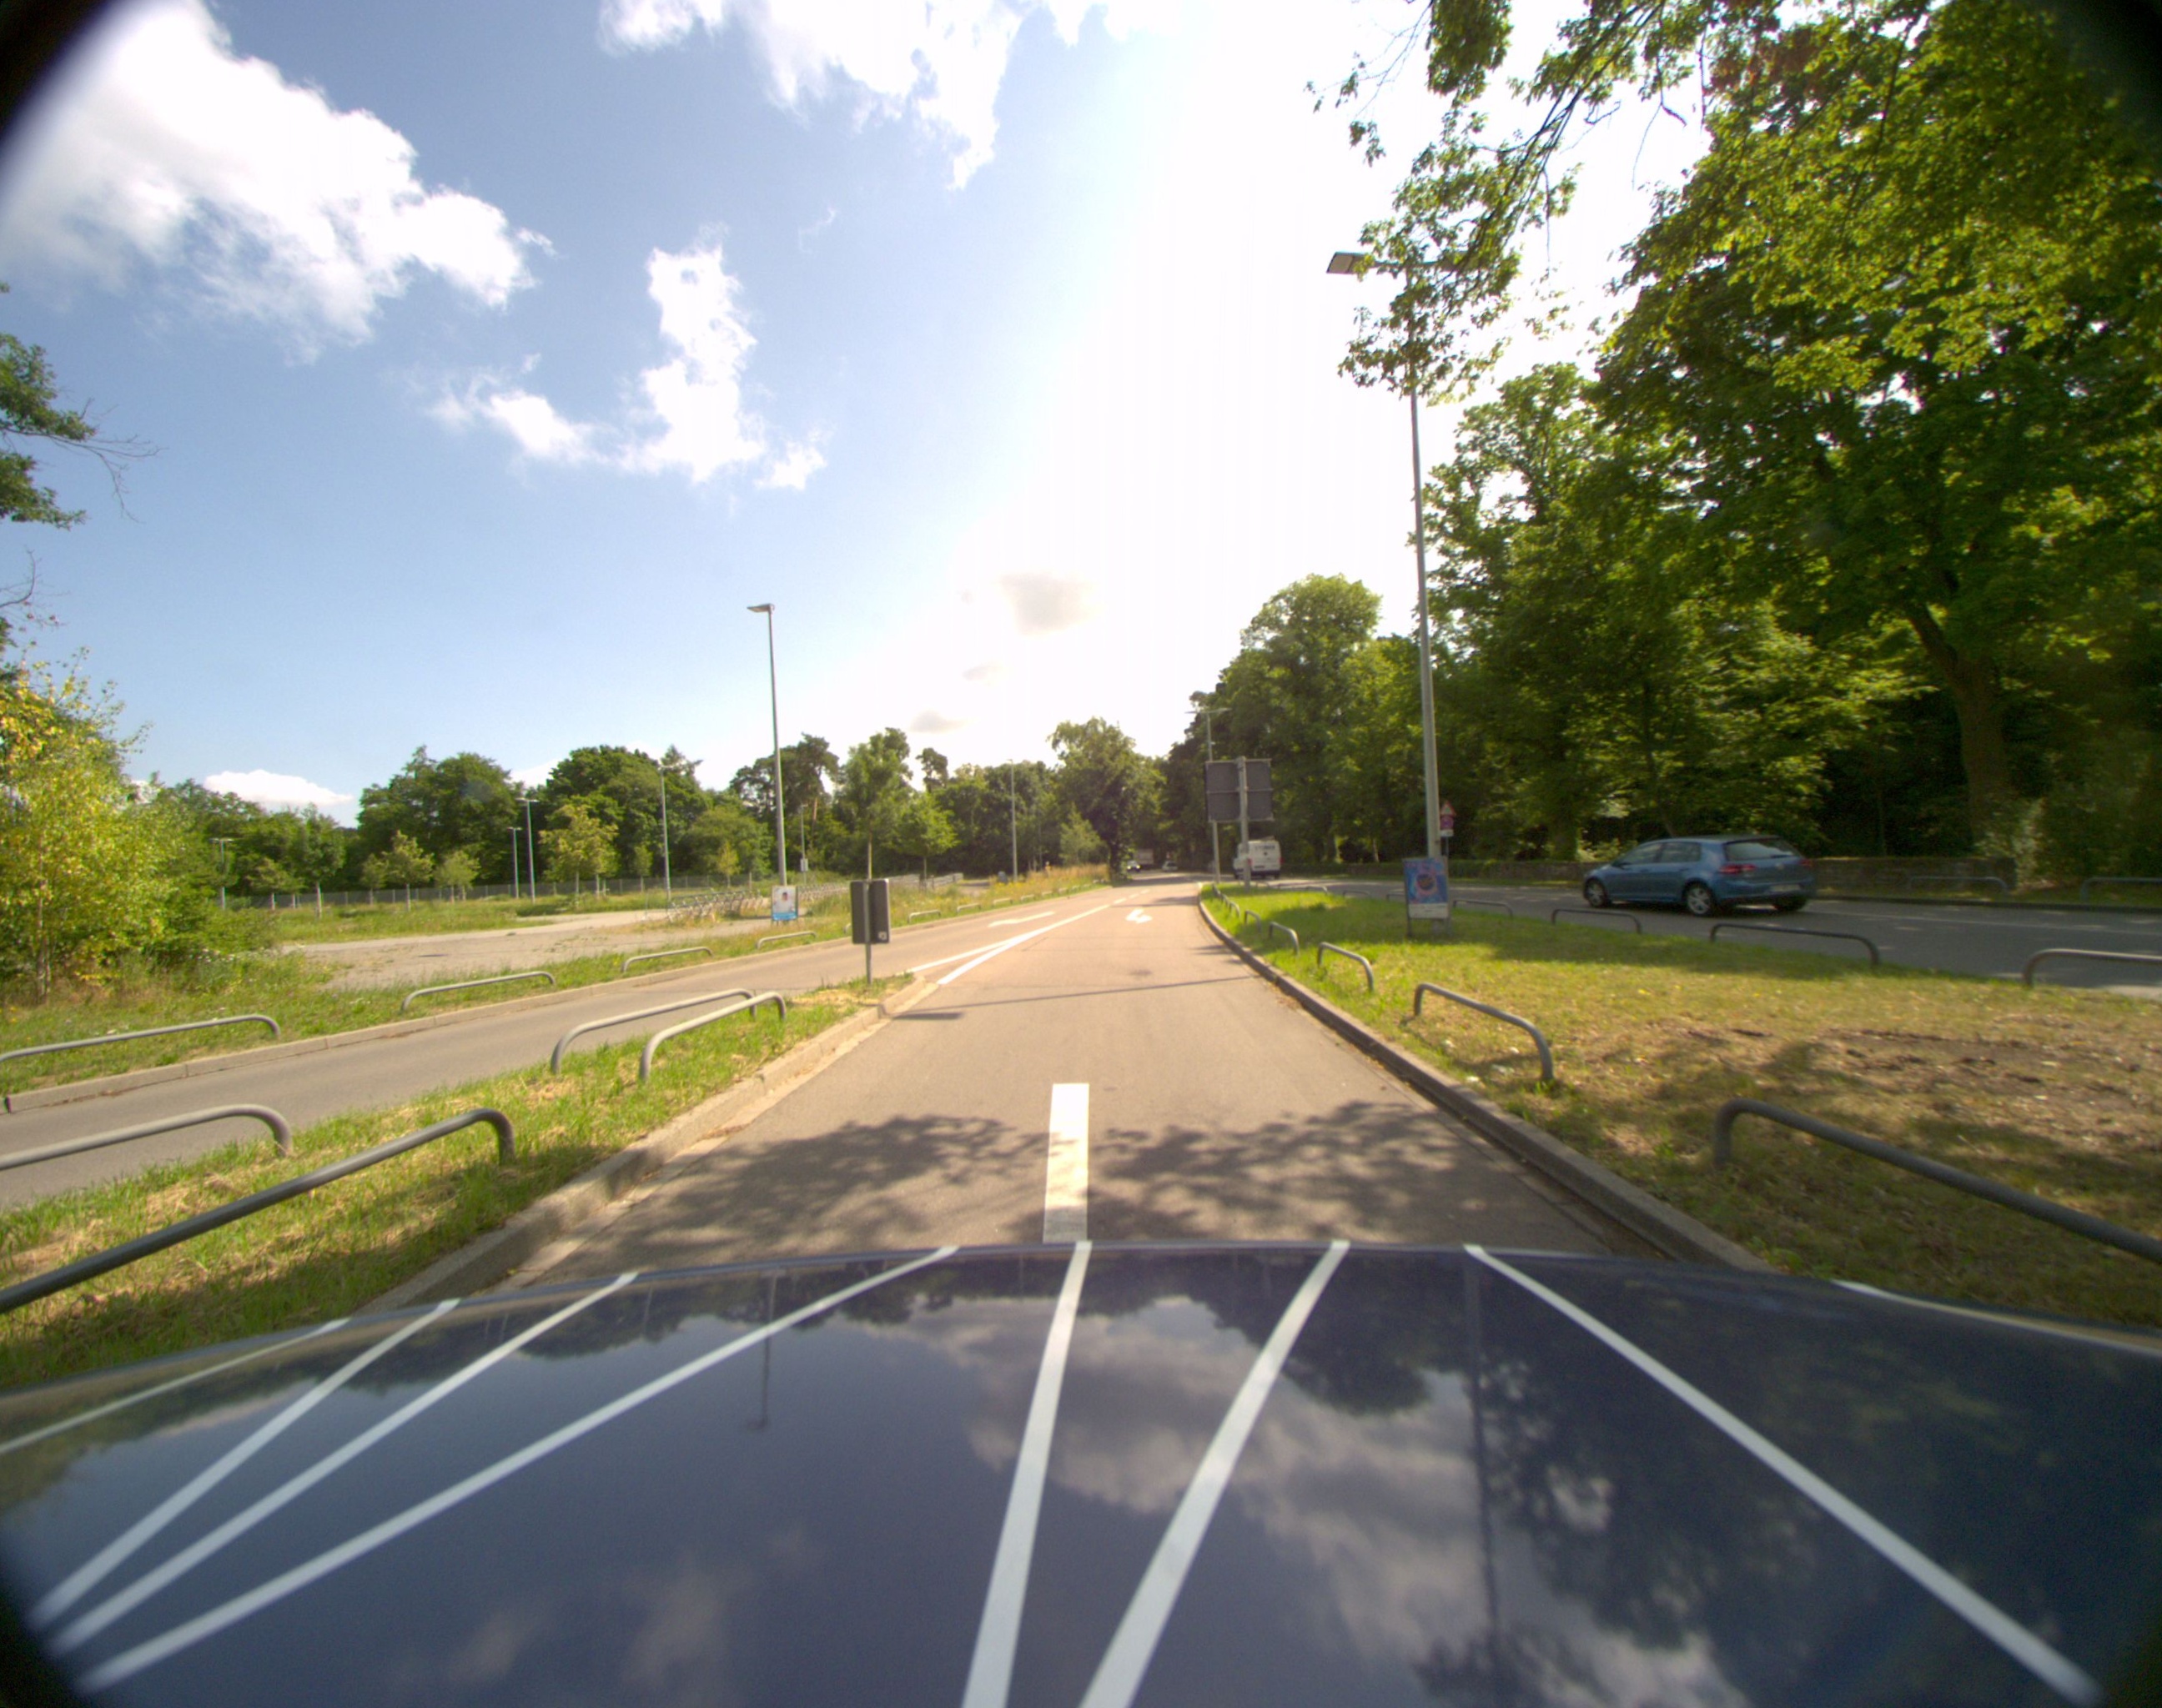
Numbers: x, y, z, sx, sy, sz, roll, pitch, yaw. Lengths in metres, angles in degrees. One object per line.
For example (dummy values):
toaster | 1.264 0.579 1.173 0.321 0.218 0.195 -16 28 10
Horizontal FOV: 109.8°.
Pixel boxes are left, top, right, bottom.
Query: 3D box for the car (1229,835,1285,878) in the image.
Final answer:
car | 10.954 0.118 47.751 1.980 2.417 5.361 -4 1 -2

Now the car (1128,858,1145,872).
car | 7.919 1.573 109.339 1.980 1.754 4.706 -3 1 0

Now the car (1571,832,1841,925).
car | 11.781 0.398 14.742 1.699 1.438 4.065 -4 1 -3

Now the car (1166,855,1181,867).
car | 12.371 0.936 101.929 1.655 1.461 3.871 -2 1 3

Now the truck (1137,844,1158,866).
truck | 11.230 0.132 129.399 2.914 3.609 7.004 -2 1 1
